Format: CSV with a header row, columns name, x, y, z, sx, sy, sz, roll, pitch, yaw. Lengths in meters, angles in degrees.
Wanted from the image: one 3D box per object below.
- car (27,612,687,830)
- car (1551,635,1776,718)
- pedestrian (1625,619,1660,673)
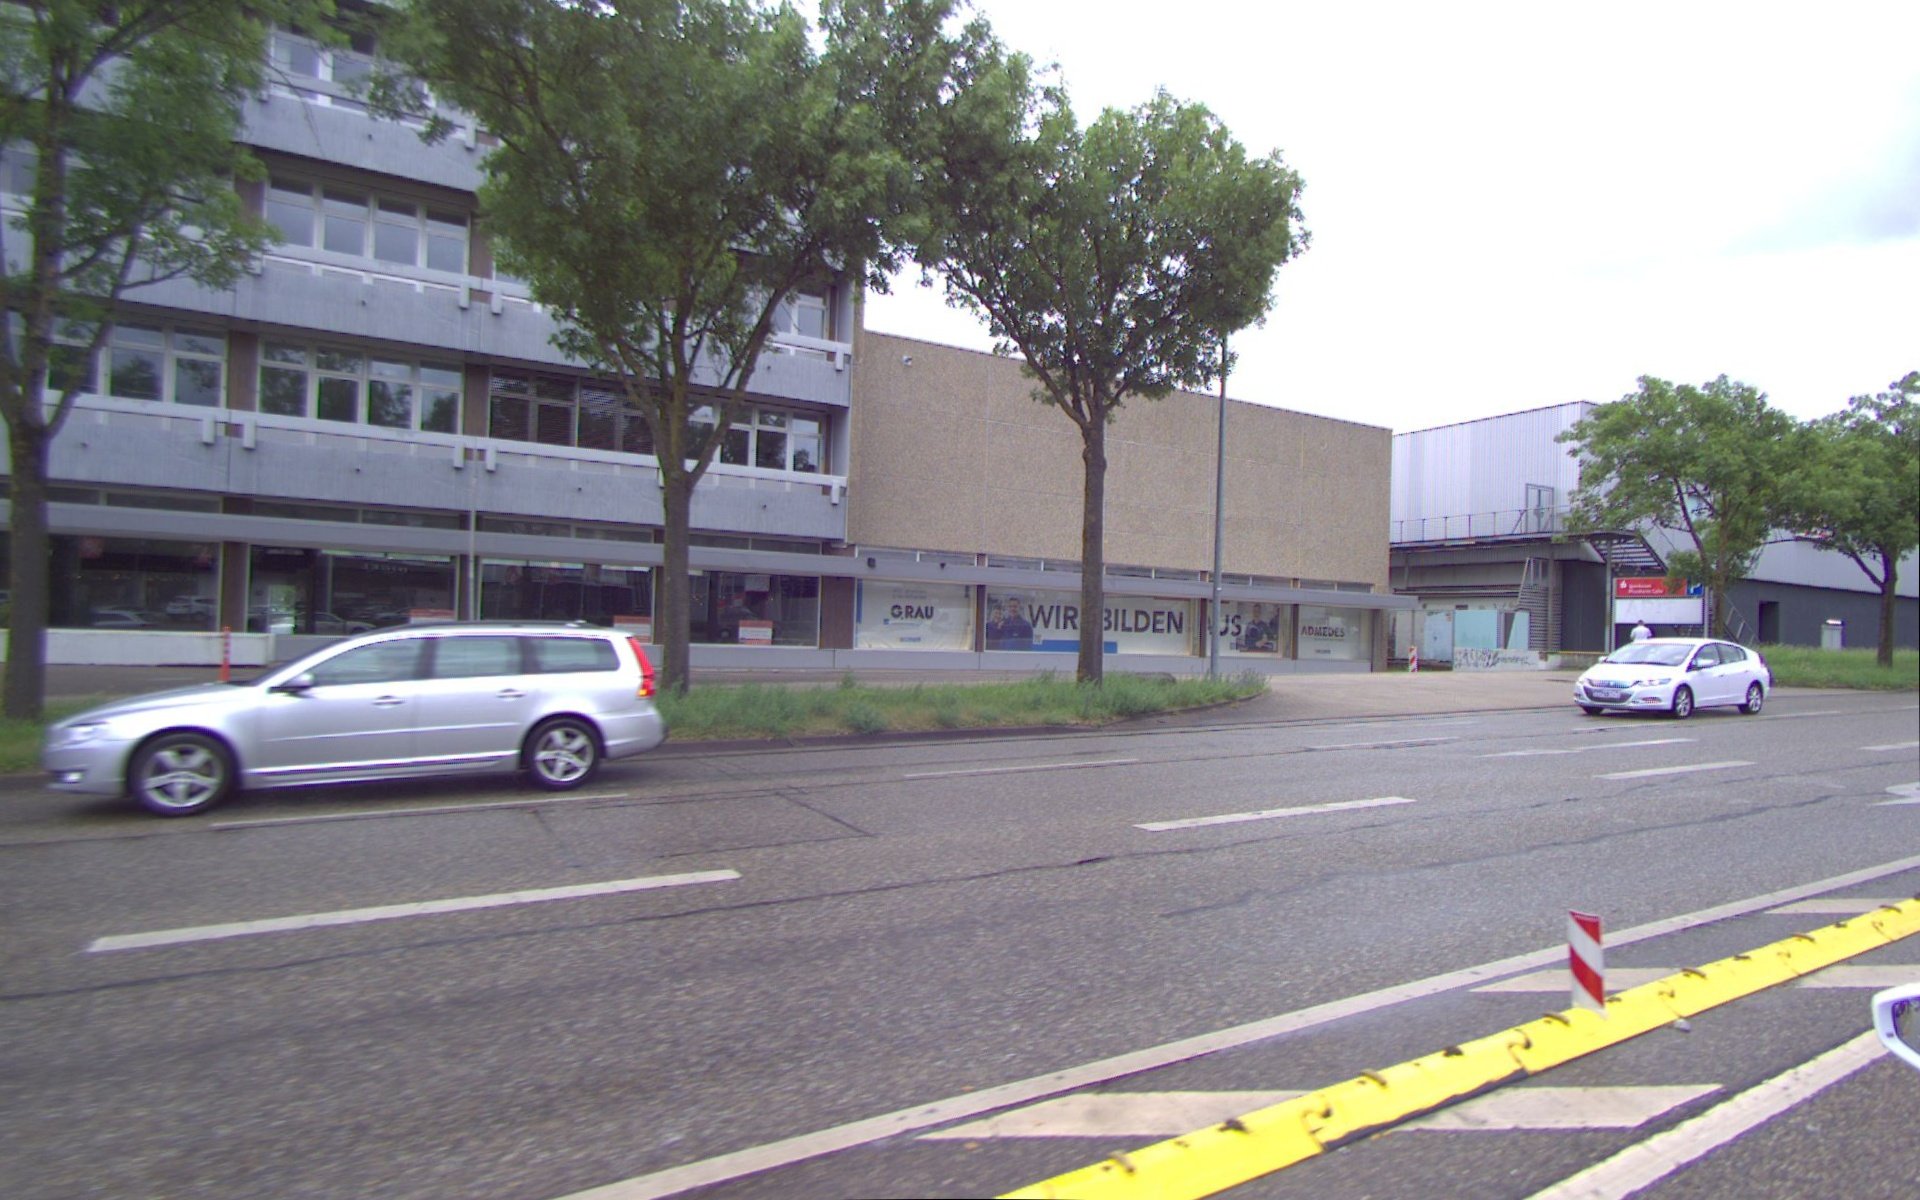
name,x,y,z,sx,sy,sz,roll,pitch,yaw
car,-5.073,0.954,9.186,4.723,1.573,1.734,1,-3,-29
car,13.391,1.408,19.069,4.414,1.424,1.734,2,-3,-29
pedestrian,21.135,1.419,31.107,0.757,1.605,0.582,1,1,-27
